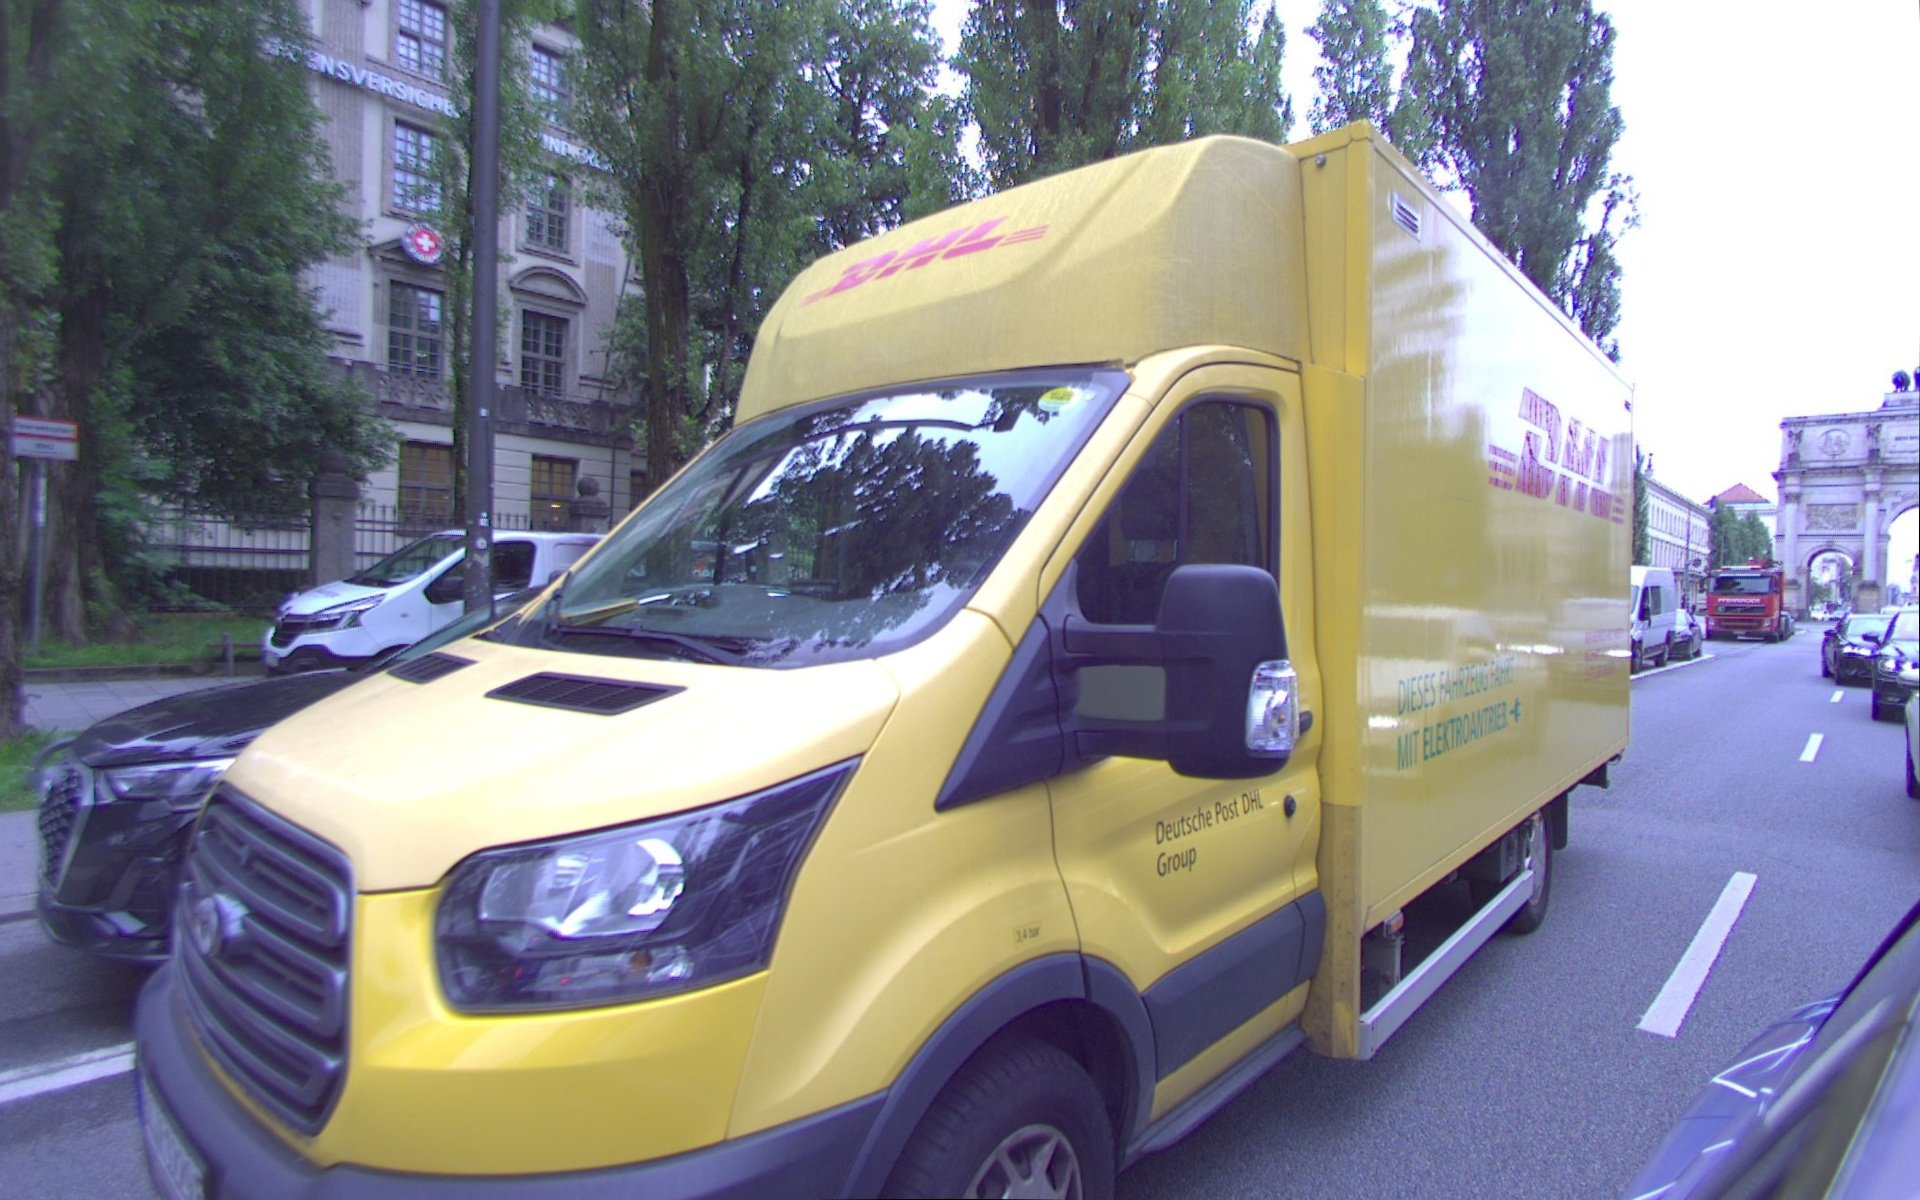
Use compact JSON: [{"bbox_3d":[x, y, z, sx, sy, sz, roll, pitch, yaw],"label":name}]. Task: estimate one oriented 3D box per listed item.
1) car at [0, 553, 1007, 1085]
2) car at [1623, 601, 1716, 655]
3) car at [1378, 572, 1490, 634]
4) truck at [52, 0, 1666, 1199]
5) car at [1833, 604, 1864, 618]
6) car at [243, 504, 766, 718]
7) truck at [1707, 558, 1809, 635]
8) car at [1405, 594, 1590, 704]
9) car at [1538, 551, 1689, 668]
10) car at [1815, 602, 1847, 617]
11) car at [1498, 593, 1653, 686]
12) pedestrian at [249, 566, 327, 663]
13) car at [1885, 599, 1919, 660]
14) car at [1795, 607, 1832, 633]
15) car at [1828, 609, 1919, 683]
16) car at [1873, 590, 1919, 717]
[{"bbox_3d":[-1.820,0.603,5.024,1.726,1.514,4.255,2,1,44],"label":"car"},{"bbox_3d":[20.924,0.790,29.795,1.753,1.468,3.938,-1,-1,43],"label":"car"},{"bbox_3d":[16.383,0.072,34.870,1.994,1.970,5.003,2,1,44],"label":"car"},{"bbox_3d":[1.070,-0.078,4.360,2.326,2.934,7.221,2,1,42],"label":"truck"},{"bbox_3d":[117.045,1.416,133.368,4.234,1.771,1.791,1,1,-30],"label":"car"},{"bbox_3d":[-5.005,0.078,11.846,1.993,1.949,5.242,2,1,42],"label":"car"},{"bbox_3d":[36.705,-0.141,46.368,2.714,3.148,10.262,3,1,43],"label":"truck"},{"bbox_3d":[8.689,0.684,16.197,1.651,1.522,4.050,1,0,42],"label":"car"},{"bbox_3d":[16.046,0.208,24.676,2.074,2.510,6.186,1,0,43],"label":"car"},{"bbox_3d":[112.596,1.248,130.846,4.234,1.771,1.790,1,1,-31],"label":"car"},{"bbox_3d":[12.146,0.686,19.850,1.820,1.610,4.158,1,1,42],"label":"car"},{"bbox_3d":[-8.395,0.173,12.638,0.714,1.156,0.702,1,1,-41],"label":"pedestrian"},{"bbox_3d":[31.307,0.931,32.770,1.885,1.880,4.244,2,1,44],"label":"car"},{"bbox_3d":[57.992,1.348,68.748,1.803,1.649,3.939,3,2,42],"label":"car"},{"bbox_3d":[19.178,0.885,20.835,1.916,1.344,4.345,0,0,42],"label":"car"},{"bbox_3d":[14.280,0.691,14.335,1.948,1.645,4.343,0,0,43],"label":"car"}]
